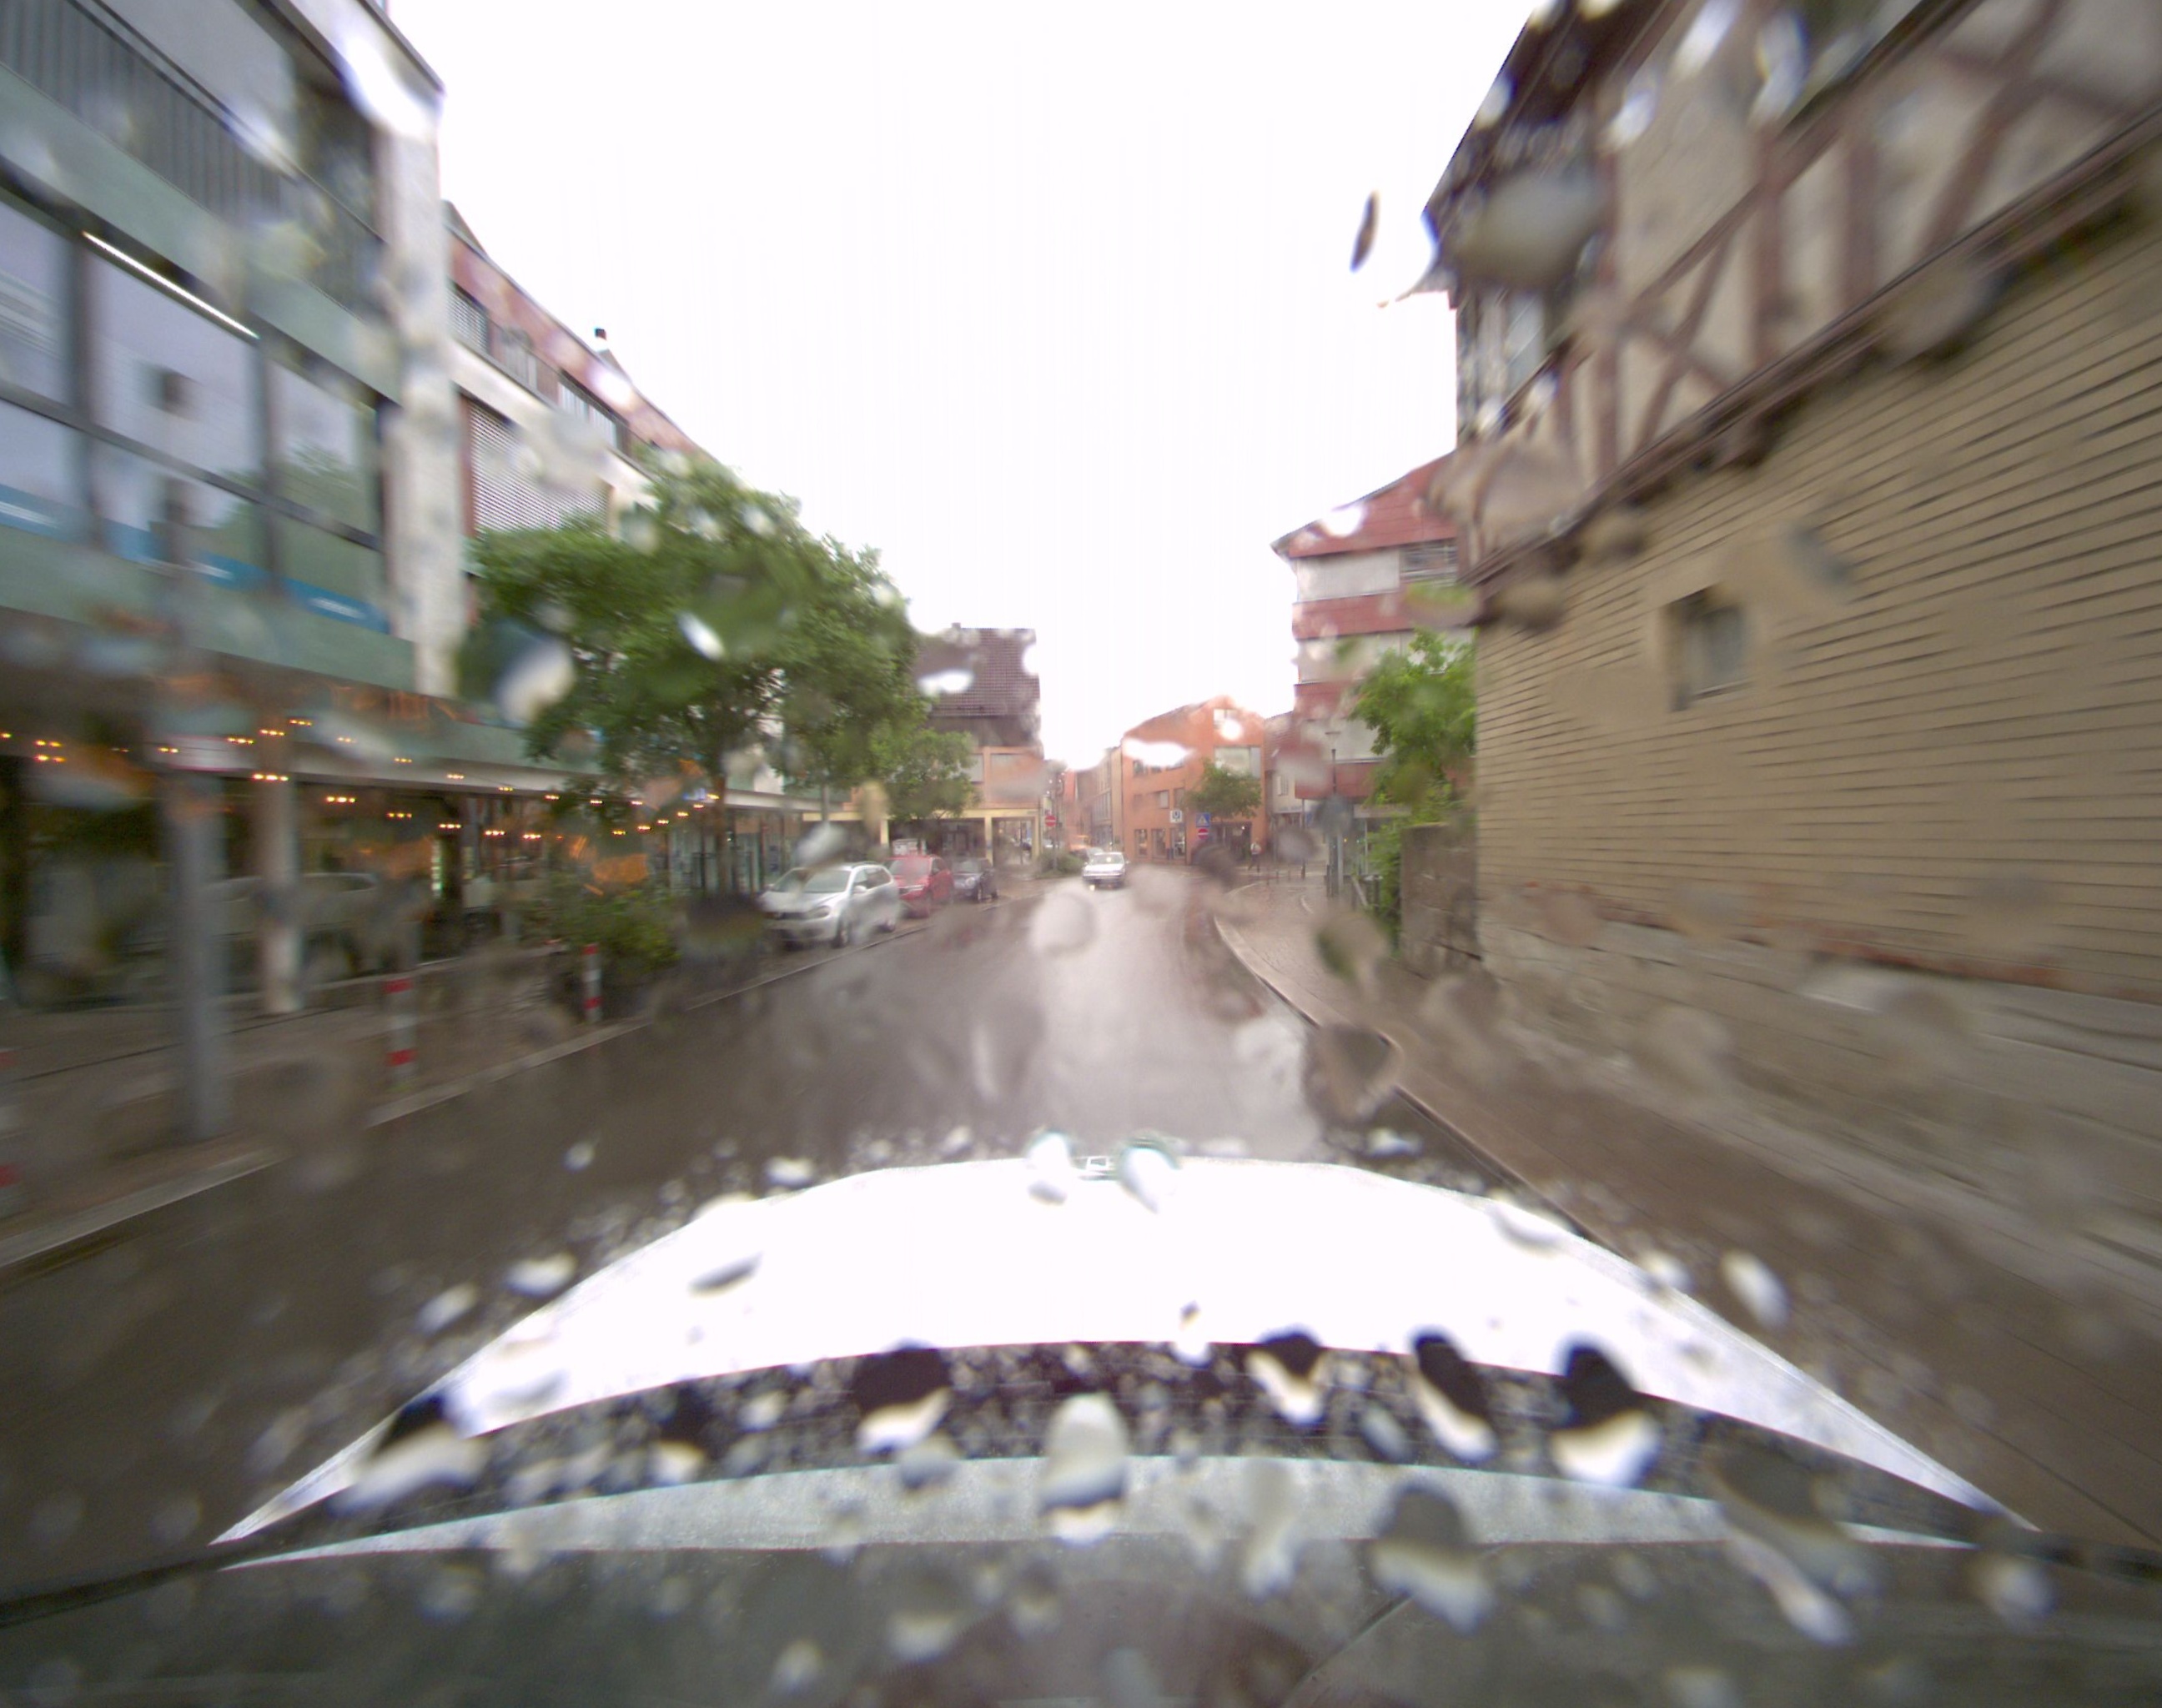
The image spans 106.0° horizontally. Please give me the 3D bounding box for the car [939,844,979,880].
[{"bbox_3d":[-6.263,0.383,42.146,1.574,1.478,3.822,-1,5,-2],"label":"car"}]

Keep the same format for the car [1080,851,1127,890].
[{"bbox_3d":[0.933,0.642,34.024,1.784,1.417,4.030,-4,0,1],"label":"car"}]

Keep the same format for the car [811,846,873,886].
[{"bbox_3d":[-11.911,0.572,40.855,1.805,1.617,4.003,-1,4,1],"label":"car"}]

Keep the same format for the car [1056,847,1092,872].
[{"bbox_3d":[-0.463,0.288,49.640,1.713,1.458,3.900,0,1,-8],"label":"car"}]

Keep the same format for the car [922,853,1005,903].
[{"bbox_3d":[-3.748,0.736,26.604,1.705,1.458,3.918,0,1,7],"label":"car"}]

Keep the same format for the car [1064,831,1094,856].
[{"bbox_3d":[-0.232,-0.930,75.520,2.101,2.146,4.856,-3,1,-6],"label":"car"}]

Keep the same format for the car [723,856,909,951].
[{"bbox_3d":[-4.859,0.825,15.676,1.778,1.498,4.460,-2,0,4],"label":"car"}]

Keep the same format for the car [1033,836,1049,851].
[{"bbox_3d":[-5.593,-1.433,113.519,1.989,2.013,4.358,-3,1,-3],"label":"car"}]

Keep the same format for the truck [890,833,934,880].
[{"bbox_3d":[-8.676,0.082,42.039,1.593,2.062,3.190,-3,5,-3],"label":"truck"}]

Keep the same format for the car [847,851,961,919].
[{"bbox_3d":[-4.560,0.741,21.620,1.778,1.576,4.112,-2,0,4],"label":"car"}]

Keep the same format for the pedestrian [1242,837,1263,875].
[{"bbox_3d":[8.901,0.093,42.283,0.853,1.914,0.762,-1,0,25],"label":"pedestrian"}]

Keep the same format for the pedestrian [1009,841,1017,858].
[{"bbox_3d":[-8.090,-0.577,96.747,0.834,2.013,0.851,-2,1,-10],"label":"pedestrian"}]

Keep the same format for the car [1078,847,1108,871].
[{"bbox_3d":[0.754,0.323,53.899,1.645,1.445,3.978,-3,1,-4],"label":"car"}]

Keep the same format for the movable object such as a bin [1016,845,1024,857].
[{"bbox_3d":[-7.024,-0.377,93.228,0.834,1.382,0.851,-2,1,-10],"label":"movable object such as a bin"}]

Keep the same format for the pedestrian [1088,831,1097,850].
[{"bbox_3d":[1.241,-1.504,87.676,0.866,2.013,0.706,-1,1,-9],"label":"pedestrian"}]
